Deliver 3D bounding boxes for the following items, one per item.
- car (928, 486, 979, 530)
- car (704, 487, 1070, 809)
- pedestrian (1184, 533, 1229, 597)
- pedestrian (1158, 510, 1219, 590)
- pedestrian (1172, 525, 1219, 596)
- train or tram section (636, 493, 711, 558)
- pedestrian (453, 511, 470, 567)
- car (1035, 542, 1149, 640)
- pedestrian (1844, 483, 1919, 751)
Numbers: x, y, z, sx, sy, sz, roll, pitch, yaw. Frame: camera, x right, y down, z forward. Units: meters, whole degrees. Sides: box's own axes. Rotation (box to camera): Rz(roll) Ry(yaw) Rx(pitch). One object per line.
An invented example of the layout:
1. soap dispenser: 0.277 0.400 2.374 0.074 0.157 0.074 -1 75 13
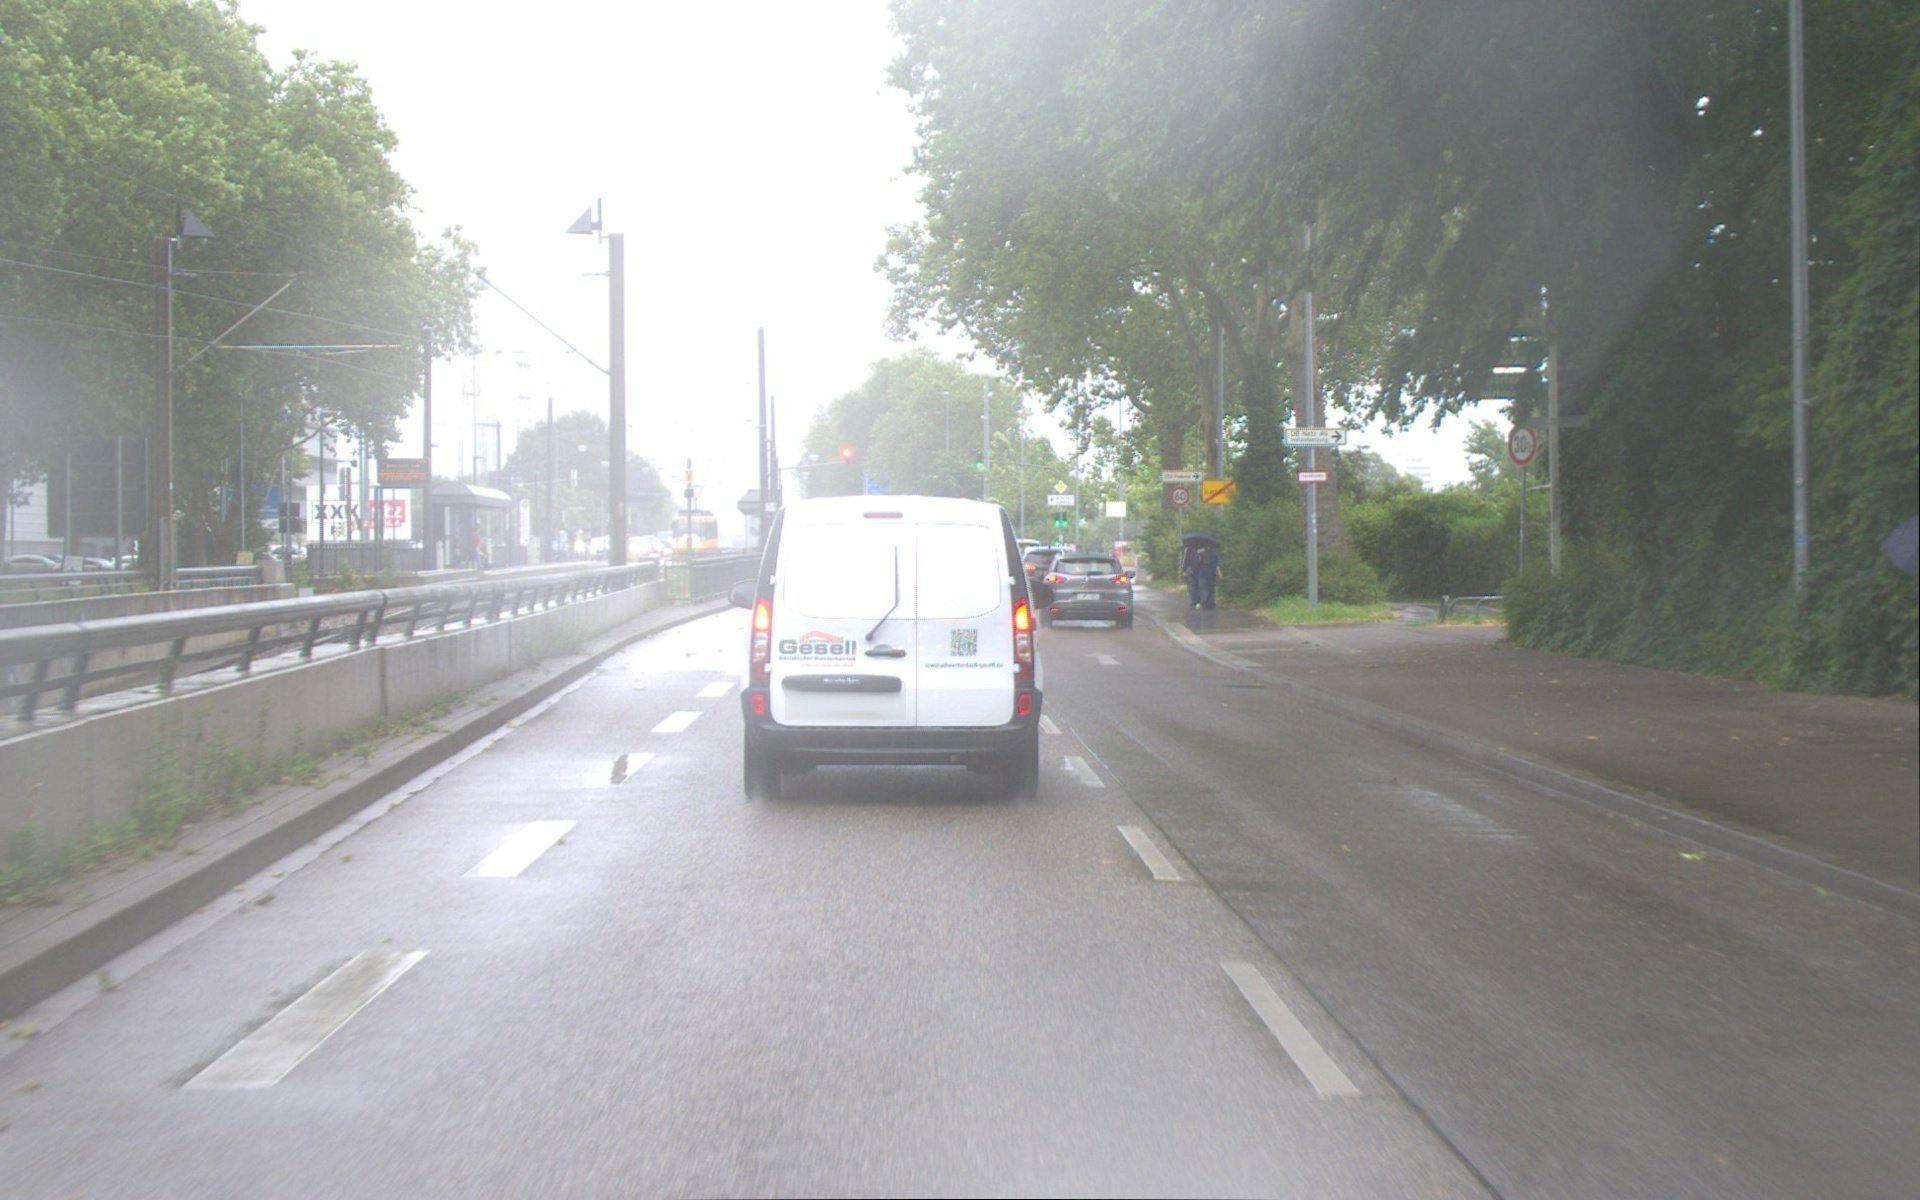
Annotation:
1. car: -0.287 -3.828 143.720 1.993 1.744 4.000 1 1 -1
2. car: -0.514 0.234 21.539 2.024 1.769 4.275 1 1 -3
3. pedestrian: 5.444 -0.781 75.940 0.892 1.385 1.016 -2 1 0
4. pedestrian: 5.314 -1.166 79.911 1.240 1.779 1.147 -4 1 0
5. pedestrian: 5.338 -0.897 77.988 0.947 1.583 1.294 -1 1 0
6. train or tram section: -19.241 -4.991 232.796 3.770 4.022 27.096 1 1 -2
7. pedestrian: -17.975 -2.215 123.992 0.493 2.007 0.583 1 1 -13
8. car: 2.467 -0.204 65.203 1.993 1.744 4.000 2 1 0
9. pedestrian: 6.409 0.093 22.406 0.966 1.696 1.141 -1 1 -1
